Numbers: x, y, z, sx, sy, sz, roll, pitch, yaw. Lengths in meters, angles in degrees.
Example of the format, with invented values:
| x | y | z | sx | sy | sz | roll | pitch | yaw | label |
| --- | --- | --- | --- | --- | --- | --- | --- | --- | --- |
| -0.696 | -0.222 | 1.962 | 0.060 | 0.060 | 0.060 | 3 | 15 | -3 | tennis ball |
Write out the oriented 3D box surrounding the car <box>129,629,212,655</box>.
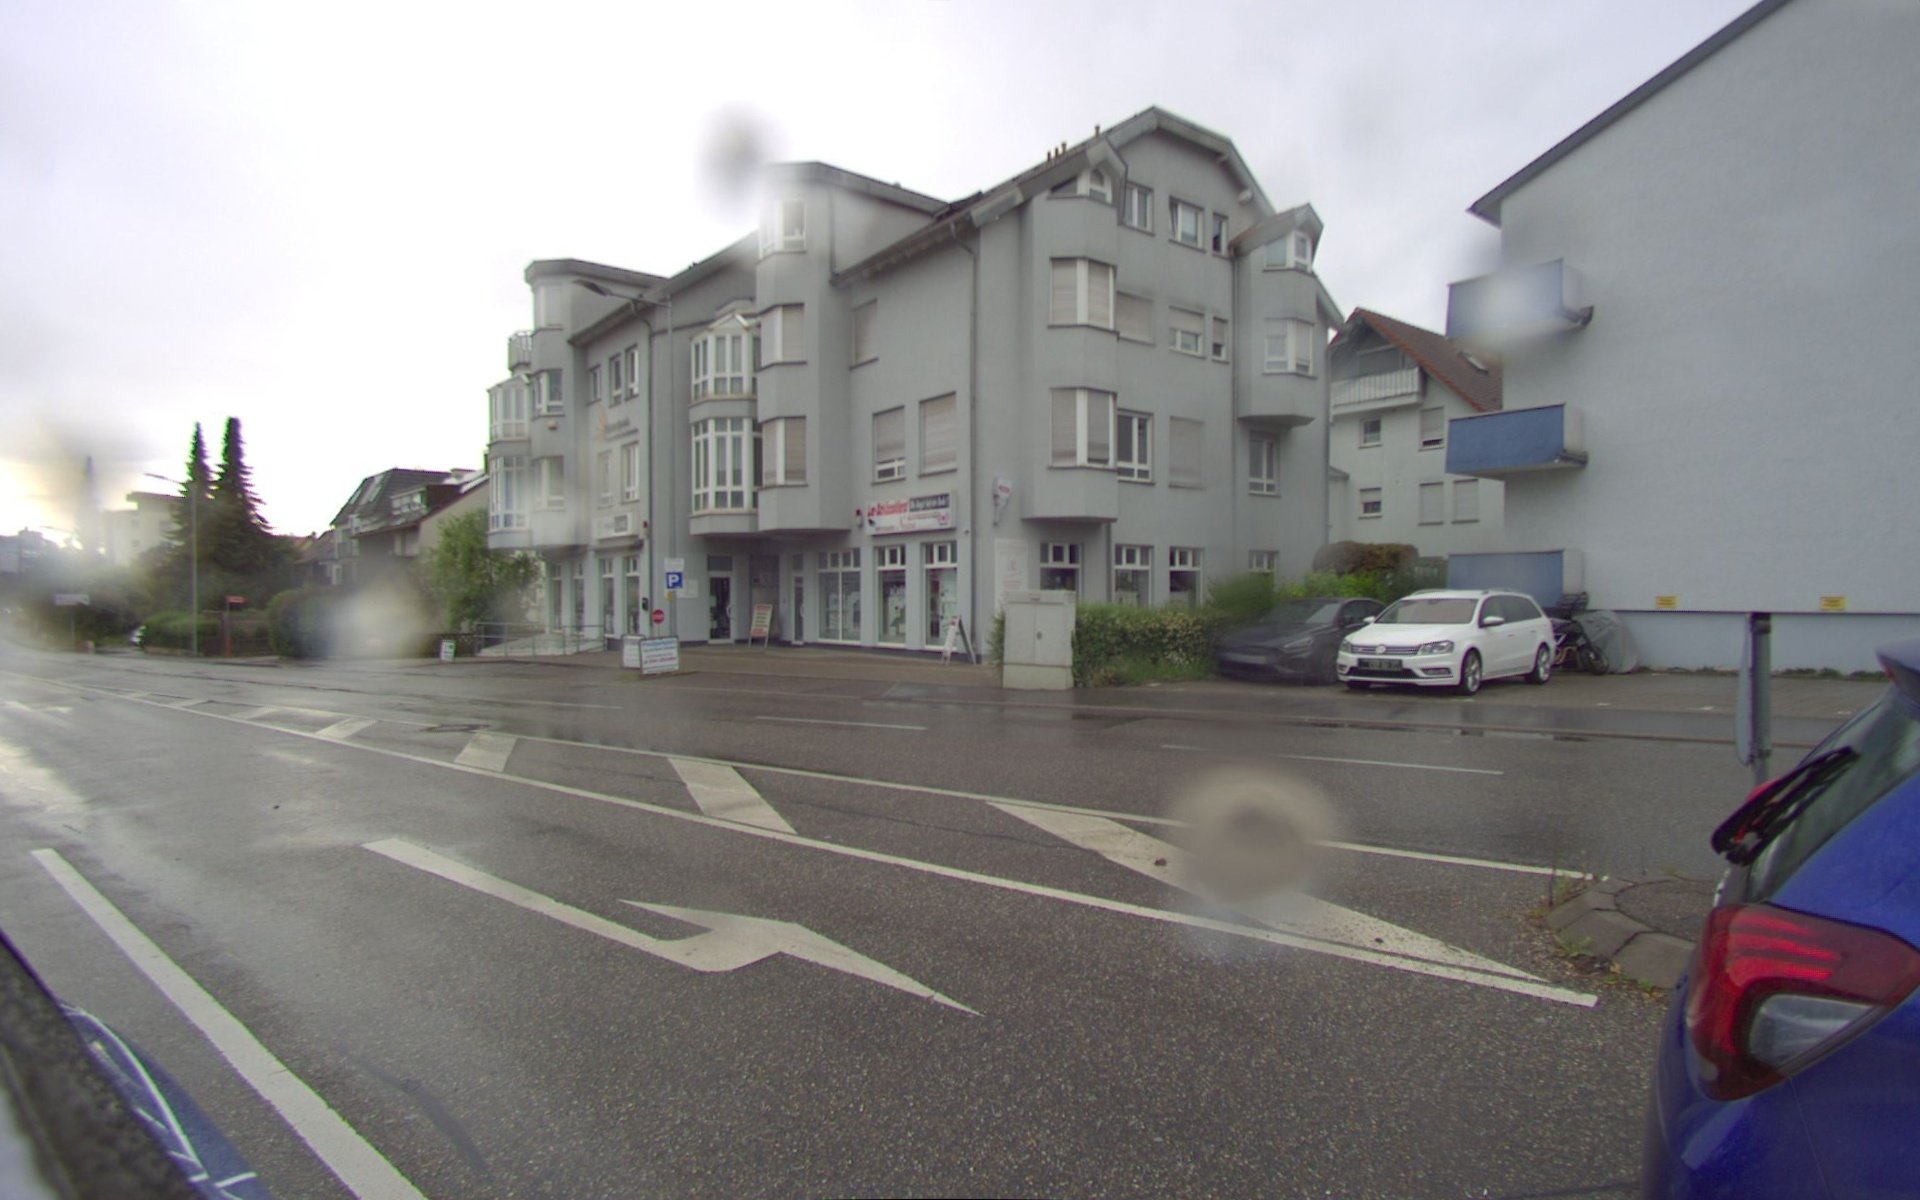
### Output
| x | y | z | sx | sy | sz | roll | pitch | yaw | label |
| --- | --- | --- | --- | --- | --- | --- | --- | --- | --- |
| -50.963 | 2.680 | 65.386 | 4.097 | 1.453 | 1.892 | -2 | 0 | -42 | car |

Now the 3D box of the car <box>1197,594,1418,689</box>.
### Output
| x | y | z | sx | sy | sz | roll | pitch | yaw | label |
| --- | --- | --- | --- | --- | --- | --- | --- | --- | --- |
| 5.953 | 0.635 | 17.123 | 3.940 | 1.421 | 1.906 | 0 | -1 | -43 | car |

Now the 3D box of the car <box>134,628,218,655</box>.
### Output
| x | y | z | sx | sy | sz | roll | pitch | yaw | label |
| --- | --- | --- | --- | --- | --- | --- | --- | --- | --- |
| -49.227 | 2.605 | 63.597 | 3.979 | 1.453 | 1.814 | -2 | 0 | -44 | car |

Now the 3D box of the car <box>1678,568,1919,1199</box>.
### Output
| x | y | z | sx | sy | sz | roll | pitch | yaw | label |
| --- | --- | --- | --- | --- | --- | --- | --- | --- | --- |
| 2.708 | 0.622 | 0.847 | 3.269 | 1.421 | 1.562 | -2 | 0 | 42 | car |

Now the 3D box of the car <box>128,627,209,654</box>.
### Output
| x | y | z | sx | sy | sz | roll | pitch | yaw | label |
| --- | --- | --- | --- | --- | --- | --- | --- | --- | --- |
| -52.762 | 2.678 | 67.461 | 4.058 | 1.557 | 2.002 | -2 | 0 | -44 | car |

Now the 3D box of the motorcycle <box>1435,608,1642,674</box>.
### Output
| x | y | z | sx | sy | sz | roll | pitch | yaw | label |
| --- | --- | --- | --- | --- | --- | --- | --- | --- | --- |
| 10.249 | 0.742 | 18.120 | 3.112 | 1.108 | 0.869 | -2 | -1 | 25 | motorcycle |

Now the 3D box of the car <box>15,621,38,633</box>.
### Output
| x | y | z | sx | sy | sz | roll | pitch | yaw | label |
| --- | --- | --- | --- | --- | --- | --- | --- | --- | --- |
| -124.202 | 3.584 | 134.631 | 1.968 | 1.628 | 4.008 | 0 | -1 | -38 | car |

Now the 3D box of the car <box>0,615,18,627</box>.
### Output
| x | y | z | sx | sy | sz | roll | pitch | yaw | label |
| --- | --- | --- | --- | --- | --- | --- | --- | --- | --- |
| -148.548 | 3.281 | 158.038 | 1.824 | 1.777 | 4.129 | 0 | -1 | -39 | car |

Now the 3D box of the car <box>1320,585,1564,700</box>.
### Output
| x | y | z | sx | sy | sz | roll | pitch | yaw | label |
| --- | --- | --- | --- | --- | --- | --- | --- | --- | --- |
| 7.332 | 0.563 | 15.206 | 4.169 | 1.485 | 1.906 | 0 | -1 | -43 | car |
